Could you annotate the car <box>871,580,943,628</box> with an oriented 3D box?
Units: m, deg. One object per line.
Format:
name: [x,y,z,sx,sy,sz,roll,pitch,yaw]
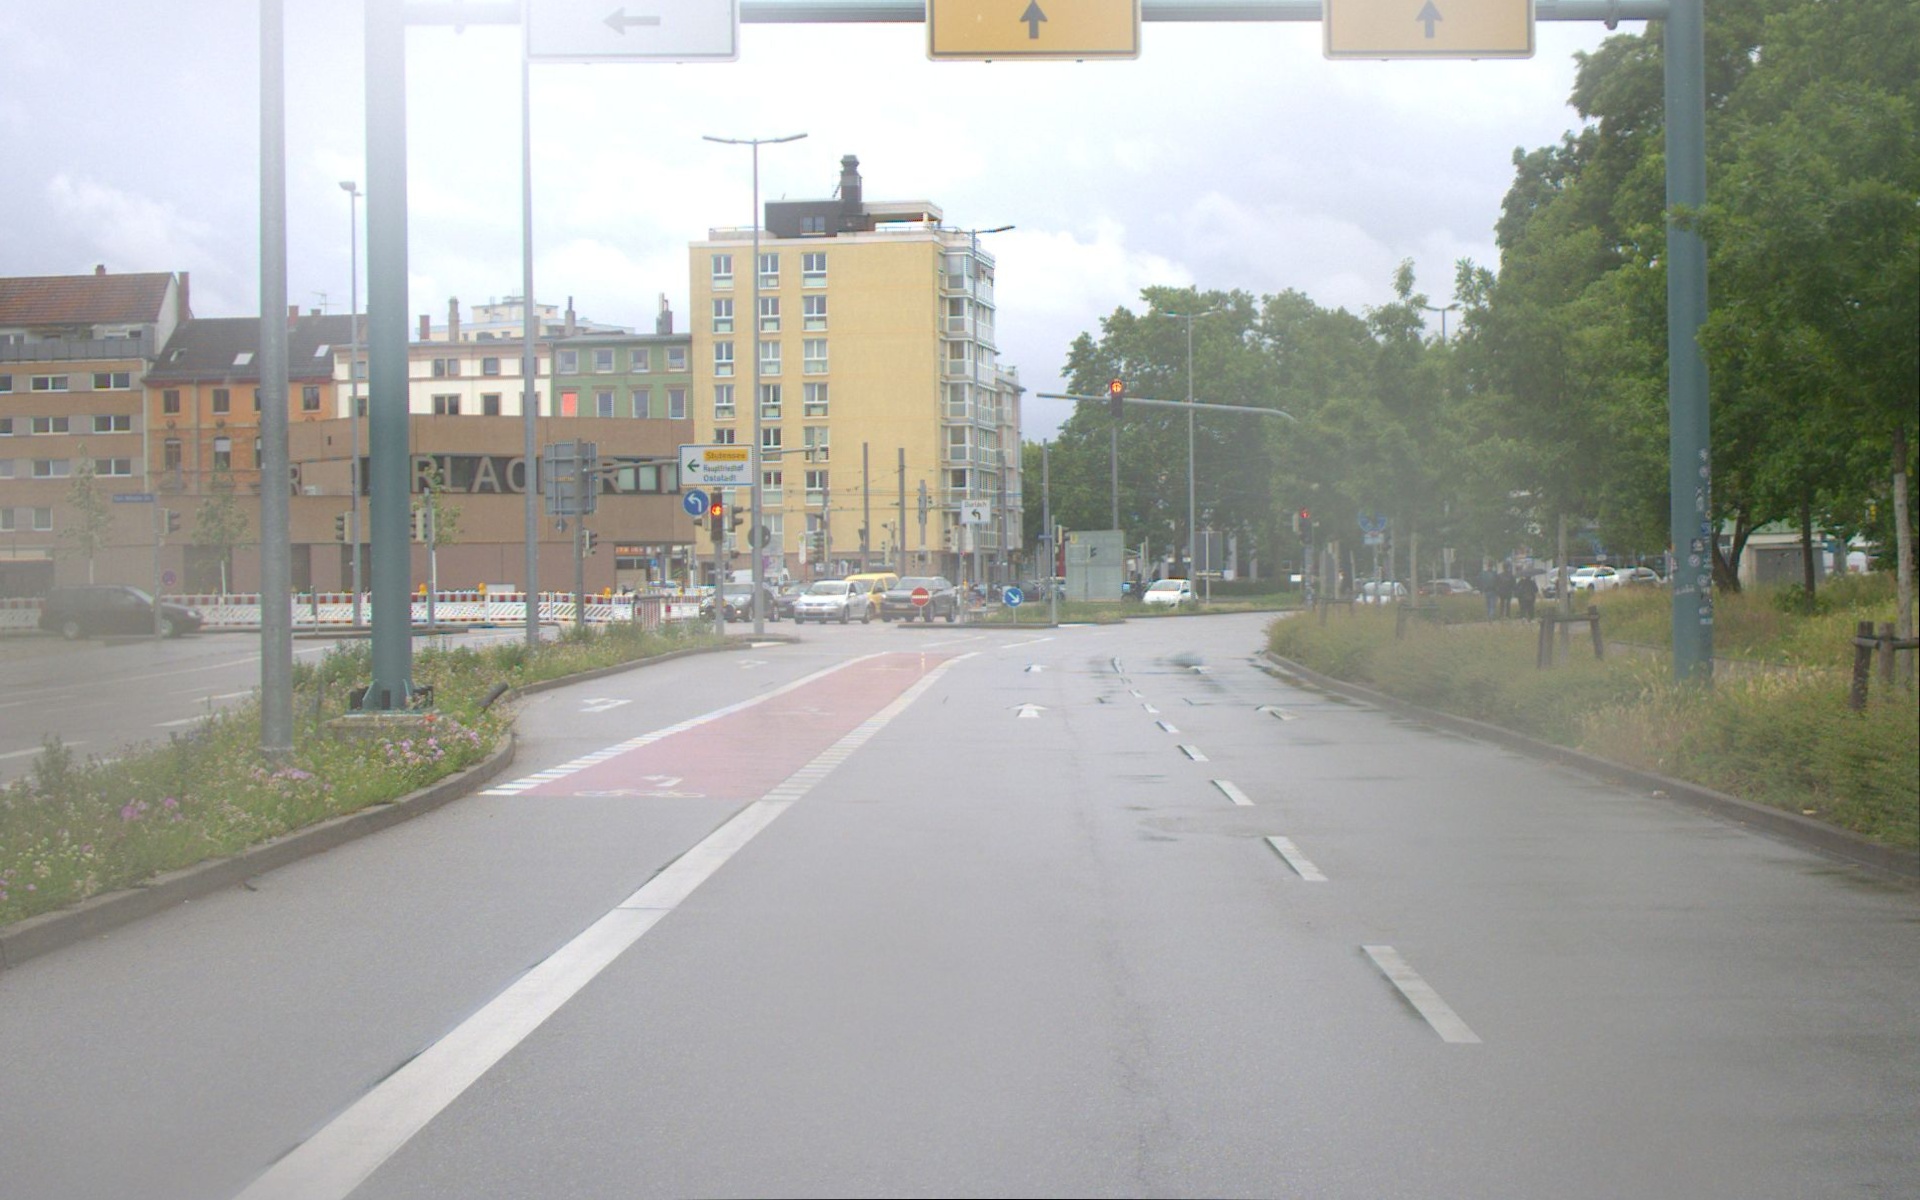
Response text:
car: [-1.899,0.122,124.815,1.994,1.630,4.602,-2,0,6]

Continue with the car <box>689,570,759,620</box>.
car: [-8.197,-0.193,119.524,1.706,1.700,3.819,0,1,7]

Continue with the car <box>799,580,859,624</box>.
car: [-4.365,0.063,114.906,1.679,1.399,4.158,-1,1,2]

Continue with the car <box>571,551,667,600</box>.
car: [-20.711,-1.511,208.871,5.352,2.877,2.338,-1,1,6]

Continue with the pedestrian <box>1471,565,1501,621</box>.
pedestrian: [14.962,-0.213,97.785,0.754,1.582,0.936,0,0,14]

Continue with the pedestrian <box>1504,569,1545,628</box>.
pedestrian: [15.304,-0.033,93.259,1.023,1.582,0.936,0,0,14]

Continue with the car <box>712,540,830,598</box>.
car: [-11.399,-1.882,207.566,6.743,3.368,2.809,-1,1,6]

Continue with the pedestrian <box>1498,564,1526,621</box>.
pedestrian: [15.616,-0.215,97.195,0.703,1.582,0.936,0,0,14]

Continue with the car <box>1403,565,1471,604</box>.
car: [20.903,-0.683,150.468,1.792,1.637,4.154,0,1,25]

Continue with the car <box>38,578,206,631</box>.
car: [-22.764,0.126,93.458,4.191,1.397,1.618,0,0,-3]

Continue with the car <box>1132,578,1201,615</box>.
car: [8.908,-0.172,147.841,1.681,1.496,3.863,-1,1,24]
